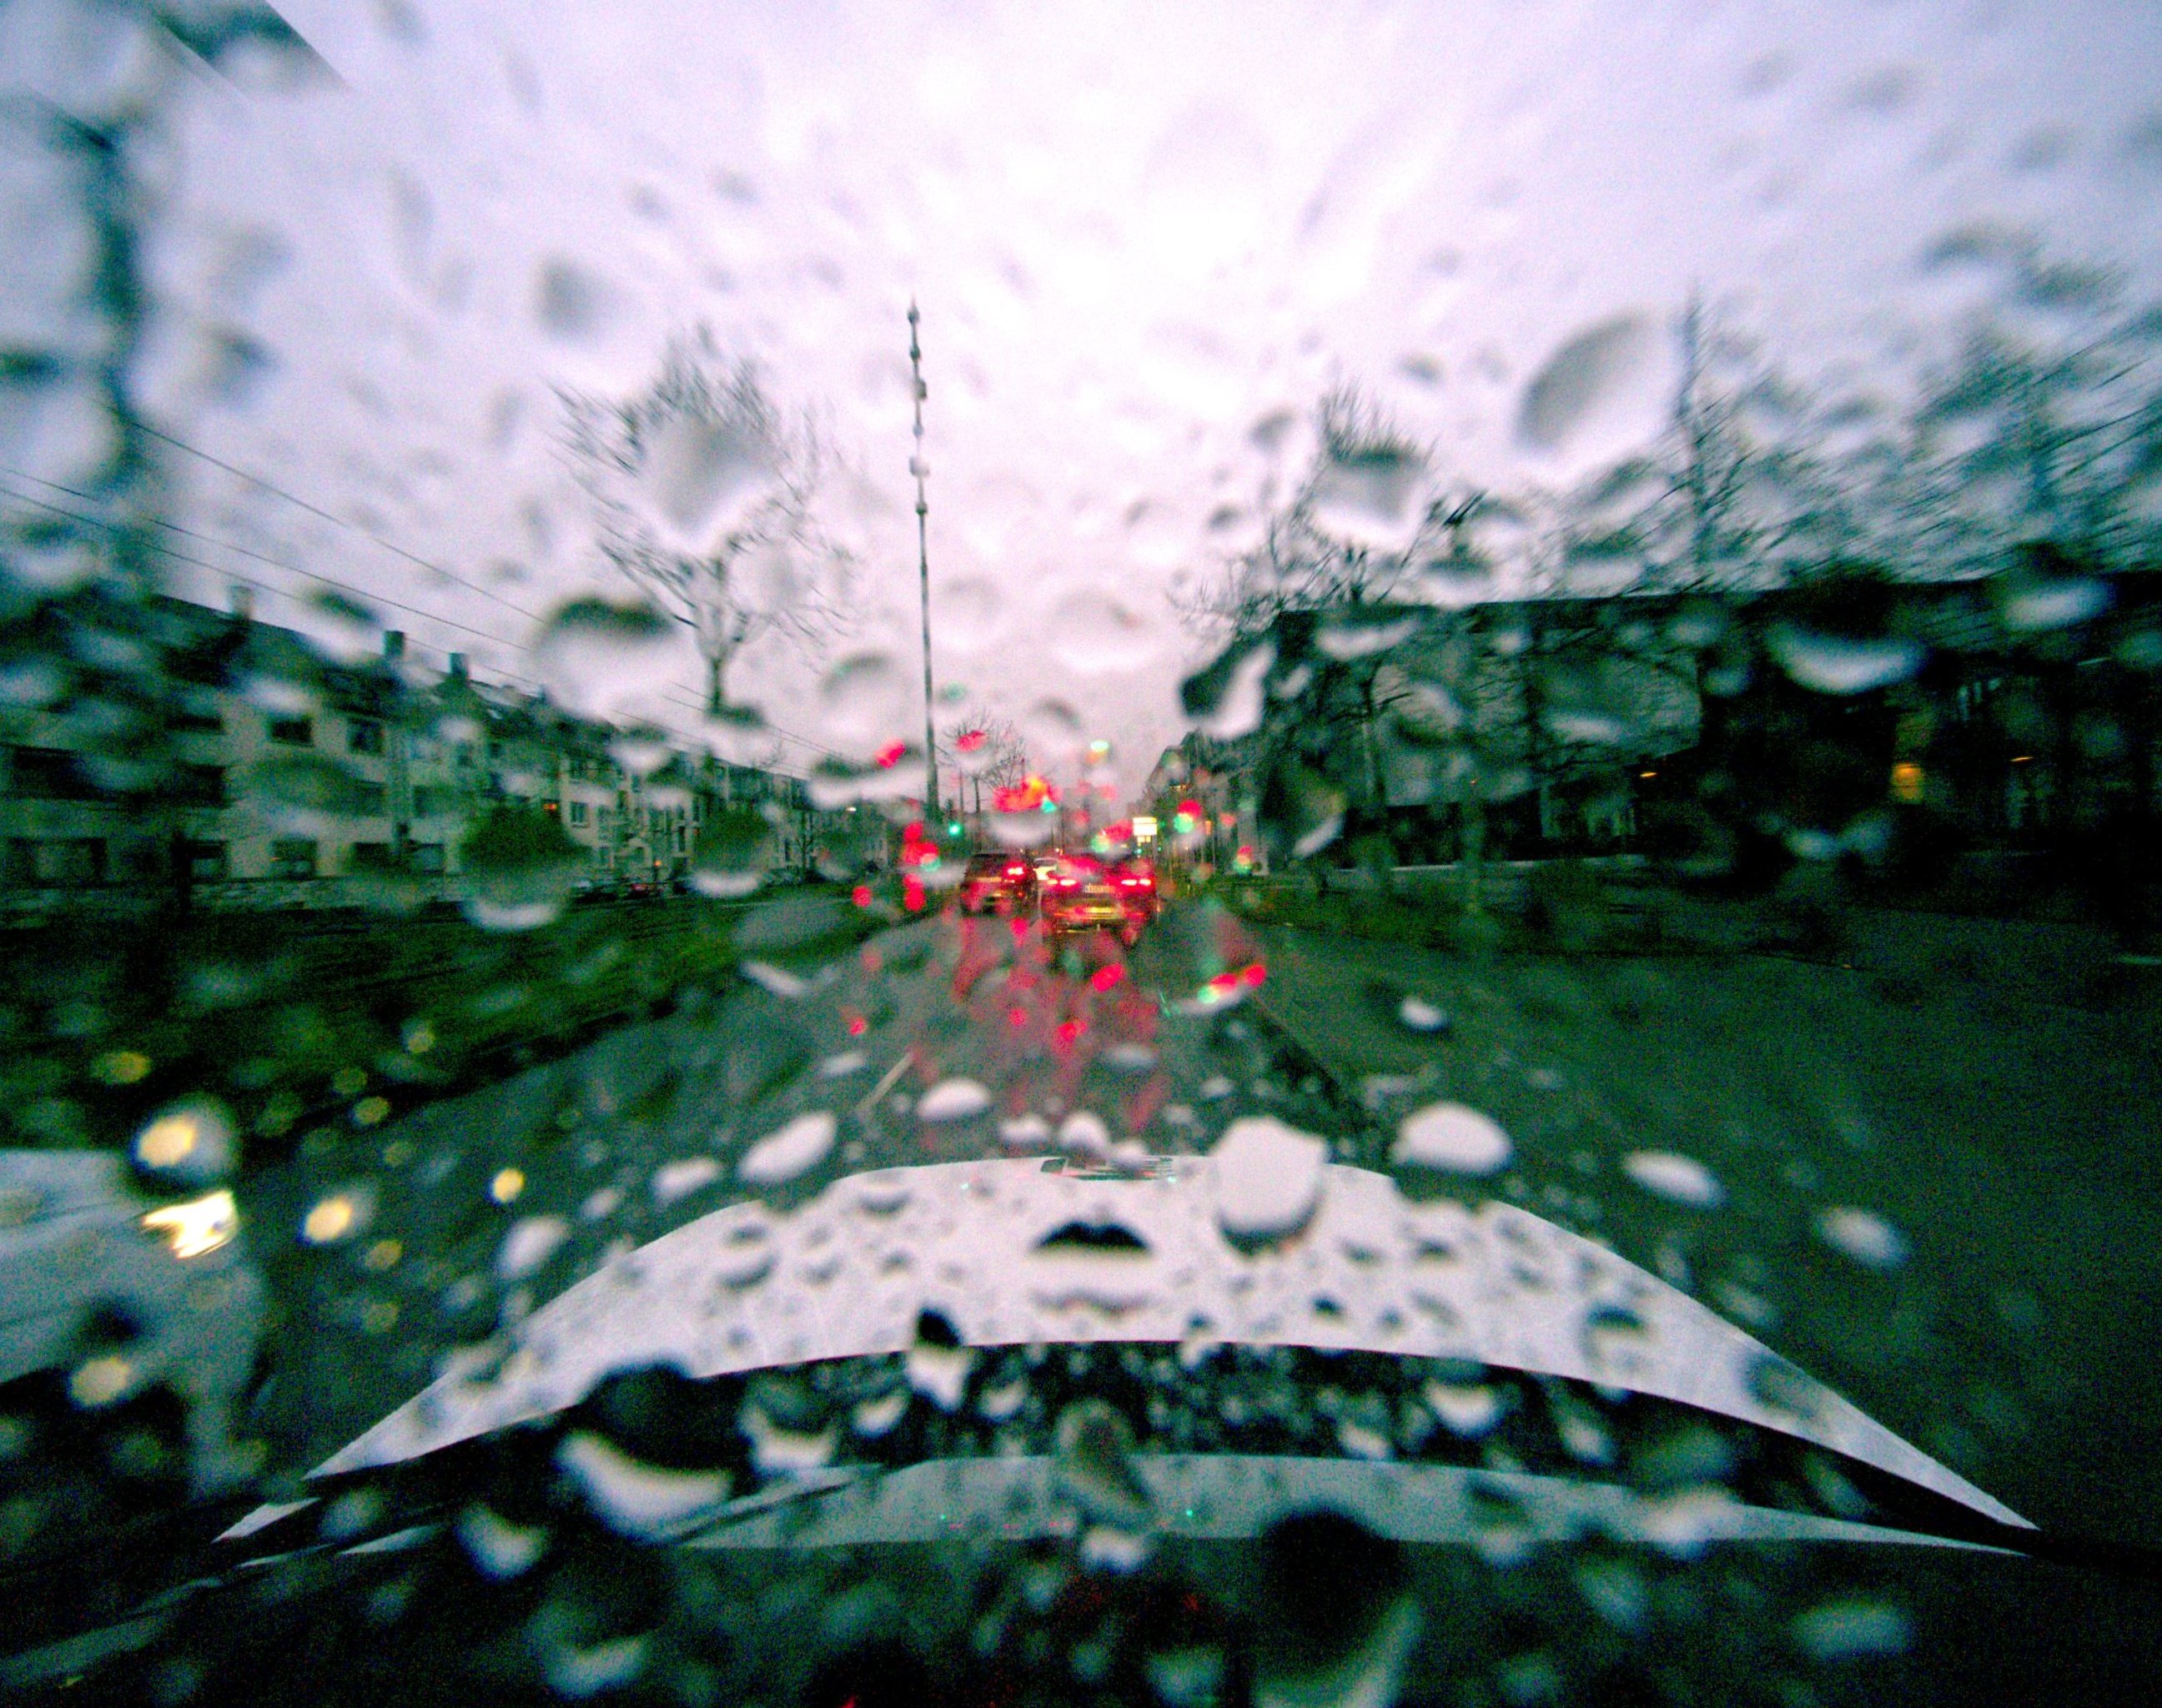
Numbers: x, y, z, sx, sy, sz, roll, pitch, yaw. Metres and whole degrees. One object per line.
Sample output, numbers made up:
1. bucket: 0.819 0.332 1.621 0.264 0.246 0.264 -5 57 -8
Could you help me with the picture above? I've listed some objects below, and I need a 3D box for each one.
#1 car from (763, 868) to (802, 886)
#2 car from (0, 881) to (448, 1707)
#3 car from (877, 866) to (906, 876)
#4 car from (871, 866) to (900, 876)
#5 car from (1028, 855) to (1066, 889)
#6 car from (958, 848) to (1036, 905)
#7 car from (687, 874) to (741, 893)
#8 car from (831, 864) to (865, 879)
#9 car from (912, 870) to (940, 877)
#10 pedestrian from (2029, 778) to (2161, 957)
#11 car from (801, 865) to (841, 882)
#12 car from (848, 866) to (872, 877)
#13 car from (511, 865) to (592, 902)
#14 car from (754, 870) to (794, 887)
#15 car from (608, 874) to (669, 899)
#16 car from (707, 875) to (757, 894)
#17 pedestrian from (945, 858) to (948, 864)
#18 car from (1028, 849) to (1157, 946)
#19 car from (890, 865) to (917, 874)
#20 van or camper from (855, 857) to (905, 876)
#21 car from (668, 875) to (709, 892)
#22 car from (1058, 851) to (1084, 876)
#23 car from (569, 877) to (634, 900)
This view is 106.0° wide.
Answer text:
1. car: -25.811 1.979 70.441 3.342 1.422 1.680 -1 0 40
2. car: -2.654 0.810 0.221 1.681 1.474 4.004 0 0 3
3. car: -25.352 2.250 108.913 3.495 1.200 1.894 -1 0 33
4. car: -25.394 2.235 105.828 3.495 1.212 1.759 -1 0 33
5. car: -1.672 0.863 41.162 1.683 1.635 3.474 0 0 1
6. car: -2.269 0.585 23.037 1.812 1.450 3.999 0 0 0
7. car: -25.761 2.054 57.157 3.772 1.172 1.749 0 0 34
8. car: -24.915 1.834 86.976 3.800 1.588 1.753 -1 0 43
9. car: -23.903 3.012 125.499 4.135 1.116 1.692 -1 0 32
10. pedestrian: 9.697 0.121 7.731 0.667 1.625 0.617 -1 -1 17
11. car: -25.613 1.893 80.125 4.109 1.541 1.680 -1 0 37
12. car: -25.307 2.032 93.256 2.851 1.204 1.397 -1 0 43
13. car: -26.768 1.458 41.102 4.598 1.723 1.845 0 0 35
14. car: -25.428 2.029 67.519 2.899 1.336 1.749 0 0 34
15. car: -26.030 1.898 47.875 3.534 1.309 1.697 0 0 34
16. car: -25.757 2.229 60.117 3.794 1.245 1.749 0 0 37
17. pedestrian: -25.518 1.319 154.223 0.348 1.184 0.429 0 -1 -39
18. car: 0.221 0.683 14.457 1.986 1.483 3.701 0 -1 1
19. car: -24.485 2.154 112.273 3.374 1.147 1.702 -1 0 33
20. van or camper: -25.040 1.516 101.324 6.792 2.360 2.013 -1 0 35
21. car: -26.105 1.951 54.124 2.361 1.048 1.446 0 1 34
22. car: -0.671 0.677 58.396 1.655 1.759 3.570 0 -1 3
23. car: -26.383 1.886 44.790 3.526 1.141 1.748 0 0 34
